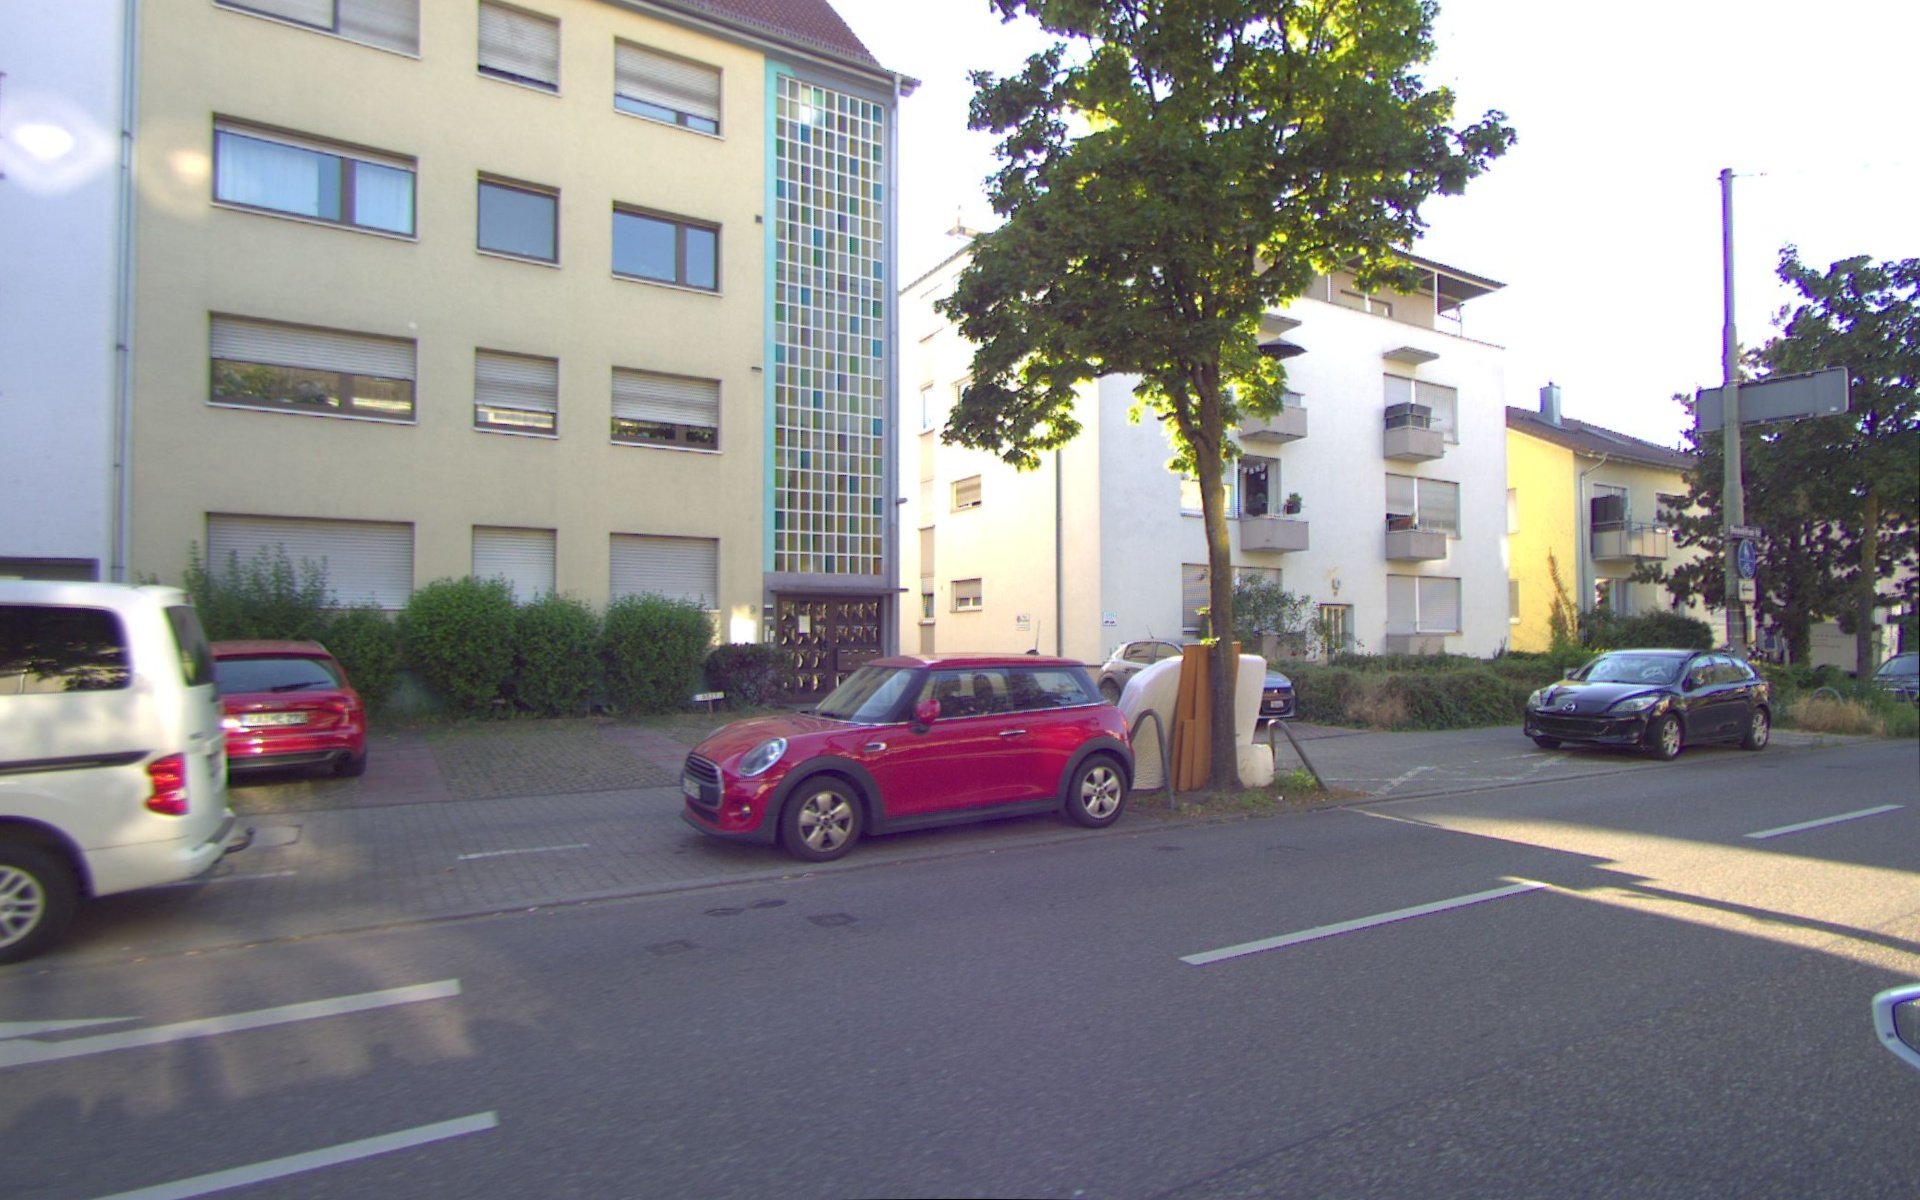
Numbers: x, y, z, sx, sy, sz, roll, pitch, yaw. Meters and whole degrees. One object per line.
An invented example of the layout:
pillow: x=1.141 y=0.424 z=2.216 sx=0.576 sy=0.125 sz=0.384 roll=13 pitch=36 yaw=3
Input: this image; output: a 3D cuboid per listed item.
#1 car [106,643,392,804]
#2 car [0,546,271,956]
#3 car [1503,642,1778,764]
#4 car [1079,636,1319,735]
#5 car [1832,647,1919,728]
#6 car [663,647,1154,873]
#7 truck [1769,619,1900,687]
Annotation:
car: x=-8.041 y=1.178 z=11.161 sx=1.986 sy=1.380 sz=4.667 roll=1 pitch=-3 yaw=-43
car: x=-6.106 y=0.727 z=4.869 sx=4.408 sy=1.944 sz=1.761 roll=1 pitch=-2 yaw=-31
car: x=9.964 y=1.389 z=14.637 sx=4.199 sy=1.517 sz=1.708 roll=1 pitch=-2 yaw=-31
car: x=4.196 y=1.435 z=18.177 sx=1.979 sy=1.498 sz=3.963 roll=1 pitch=-1 yaw=-34
car: x=19.517 y=1.695 z=20.152 sx=4.373 sy=1.439 sz=1.746 roll=1 pitch=-2 yaw=-30
car: x=-0.379 y=1.142 z=8.366 sx=3.743 sy=1.439 sz=1.709 roll=1 pitch=-2 yaw=-31
truck: x=28.766 y=1.719 z=33.104 sx=1.528 sy=2.121 sz=2.899 roll=1 pitch=-2 yaw=-31
